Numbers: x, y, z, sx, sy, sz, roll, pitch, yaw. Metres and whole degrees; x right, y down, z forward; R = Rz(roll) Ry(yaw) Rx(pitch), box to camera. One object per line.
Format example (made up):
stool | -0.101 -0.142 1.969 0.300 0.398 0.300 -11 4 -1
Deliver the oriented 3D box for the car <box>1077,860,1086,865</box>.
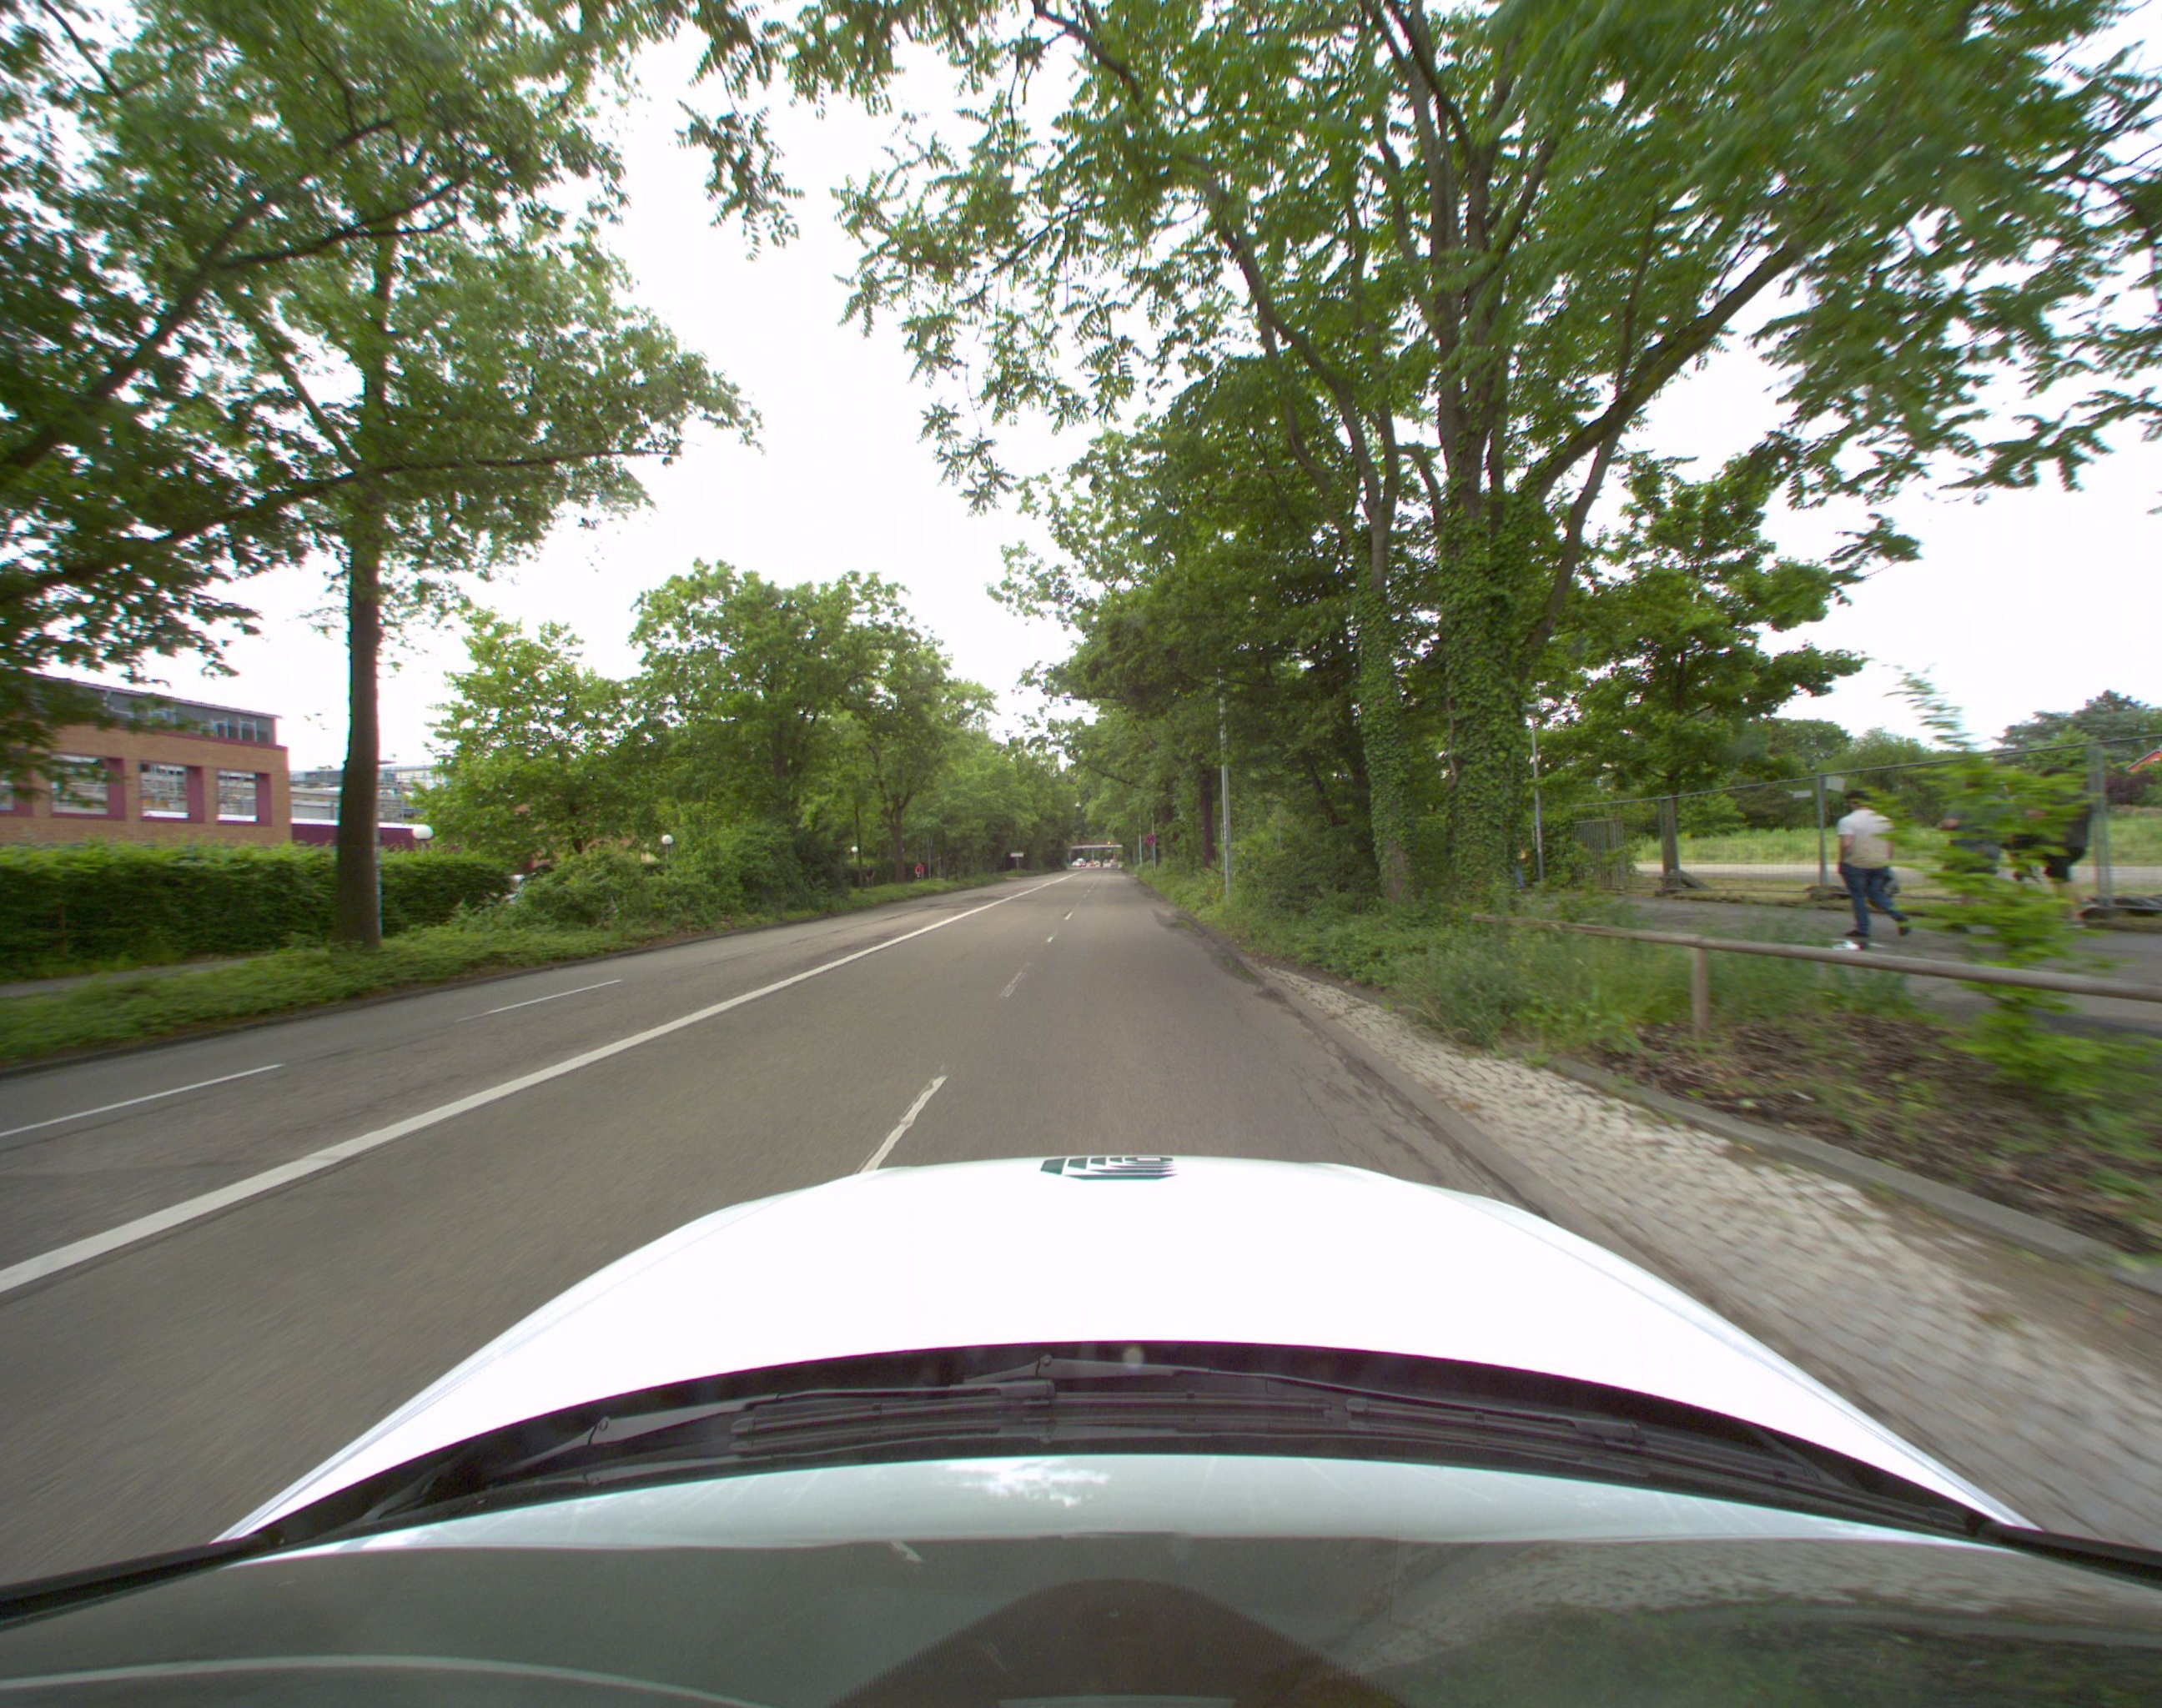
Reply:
car | 0.144 2.355 231.163 1.984 1.354 3.900 -1 0 5

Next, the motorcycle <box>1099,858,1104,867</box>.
motorcycle | 4.777 2.007 187.804 0.986 1.936 2.670 -1 0 2

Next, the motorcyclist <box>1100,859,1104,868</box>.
motorcyclist | 4.865 2.132 187.736 1.059 2.014 0.843 -1 -1 2

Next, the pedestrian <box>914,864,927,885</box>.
pedestrian | -12.309 1.549 62.501 0.789 1.613 0.848 -1 -1 2

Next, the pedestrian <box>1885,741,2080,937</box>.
pedestrian | 10.020 -0.159 9.106 0.923 2.013 1.039 -3 -1 -2

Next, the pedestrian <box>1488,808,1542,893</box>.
pedestrian | 10.653 -0.087 20.008 0.821 2.013 0.720 -3 -1 1

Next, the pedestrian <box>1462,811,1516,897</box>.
pedestrian | 9.963 -0.008 19.920 0.821 2.013 0.720 -4 -1 1

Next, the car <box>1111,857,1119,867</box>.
car | 7.616 1.805 183.967 1.836 2.014 4.002 -1 0 2

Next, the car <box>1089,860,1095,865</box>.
car | 3.068 2.293 231.210 1.668 1.362 3.922 -1 0 1

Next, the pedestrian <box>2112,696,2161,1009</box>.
pedestrian | 7.372 -0.027 5.006 0.841 2.013 0.893 -3 -1 -3

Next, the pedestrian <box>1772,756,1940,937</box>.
pedestrian | 9.295 -0.085 9.821 0.923 2.013 1.039 -3 -1 -2
